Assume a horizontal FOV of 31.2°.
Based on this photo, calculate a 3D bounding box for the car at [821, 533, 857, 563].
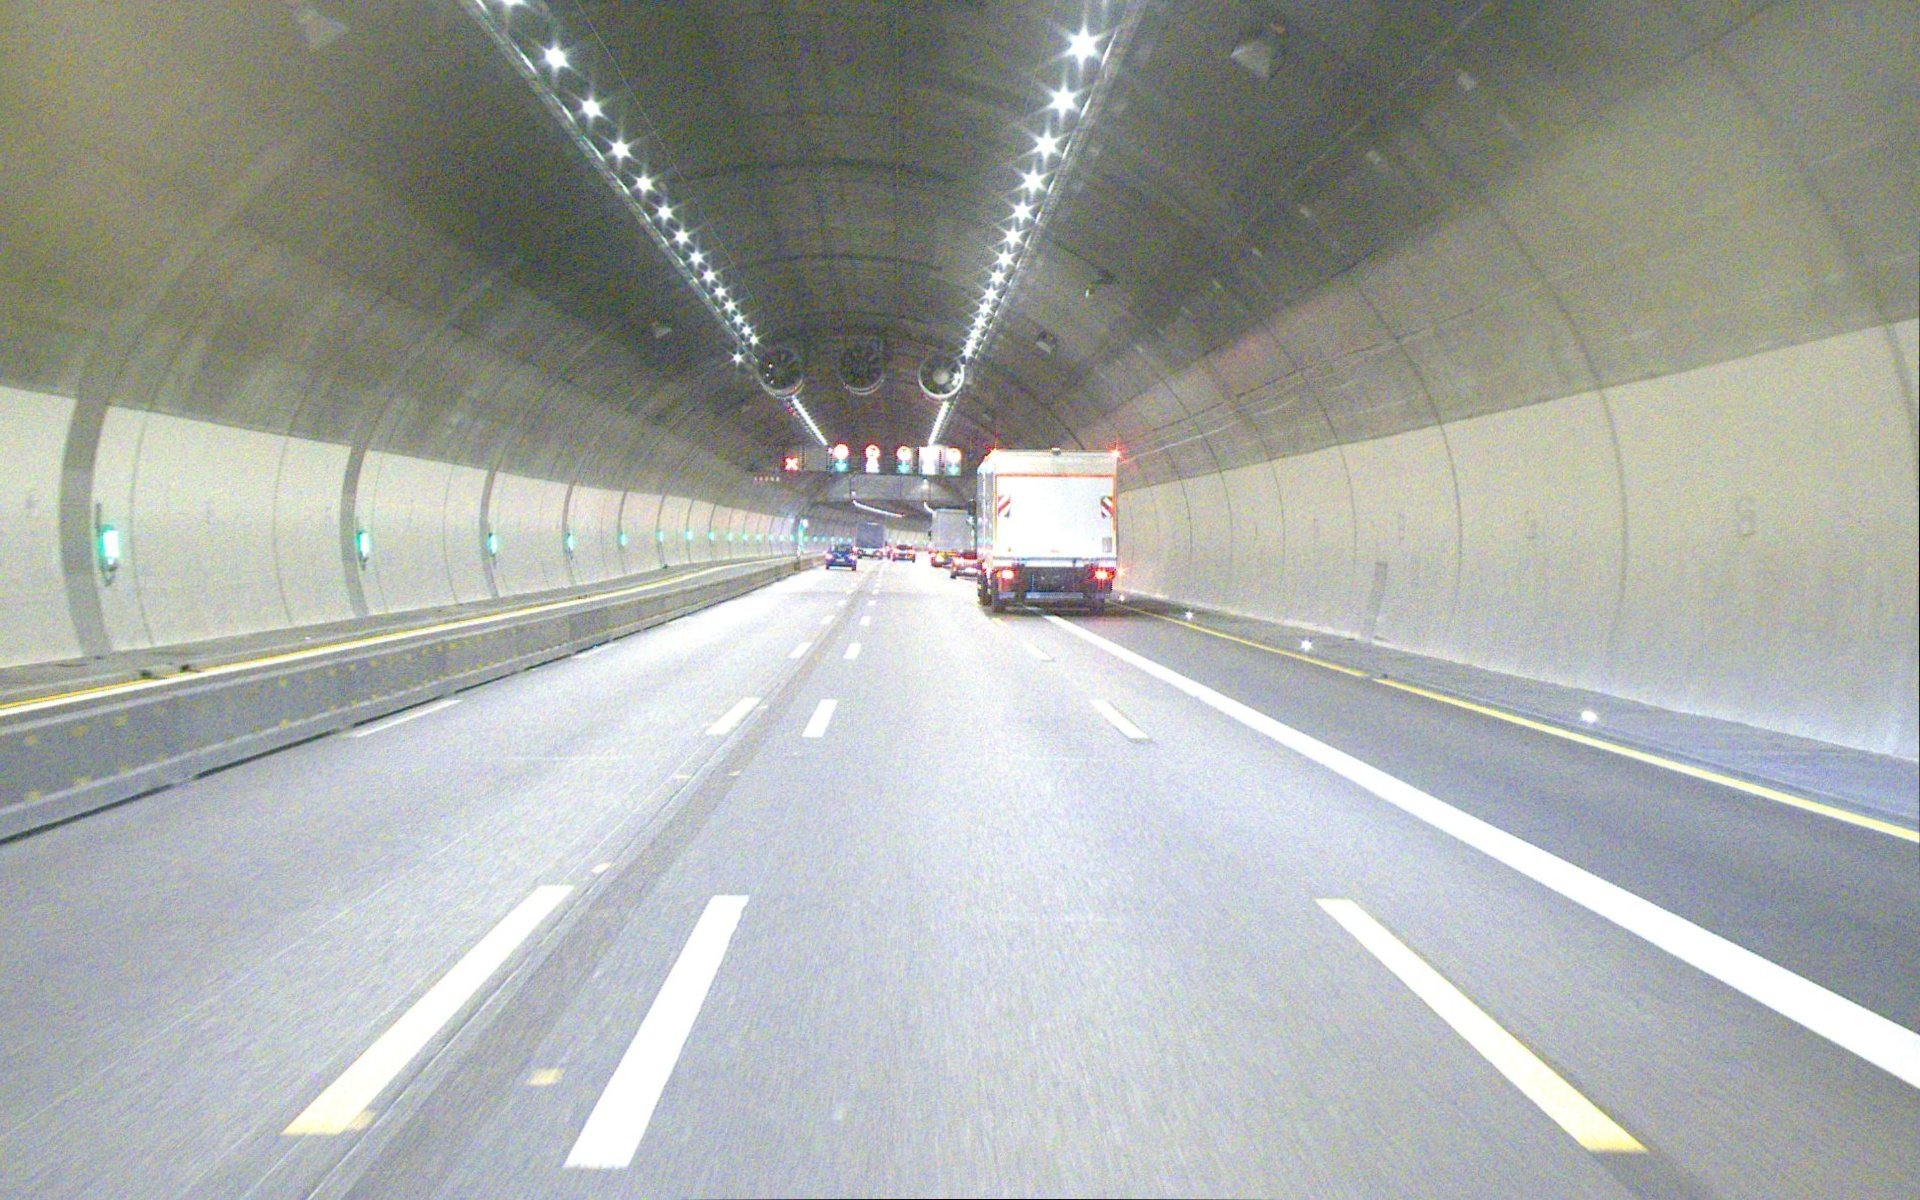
[{"bbox_3d":[-6.220,-2.675,177.106,1.758,1.456,4.119,1,2,0],"label":"car"}]

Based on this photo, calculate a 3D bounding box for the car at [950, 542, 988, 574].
[{"bbox_3d":[0.454,-2.002,163.319,1.739,1.456,3.960,1,2,1],"label":"car"}]

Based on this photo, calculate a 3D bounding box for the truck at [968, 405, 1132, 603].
[{"bbox_3d":[1.831,-1.966,74.621,3.092,3.904,10.368,2,0,-1],"label":"truck"}]

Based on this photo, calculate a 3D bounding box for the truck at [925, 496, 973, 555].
[{"bbox_3d":[-0.719,-5.129,238.634,3.066,3.904,10.368,2,0,1],"label":"truck"}]
